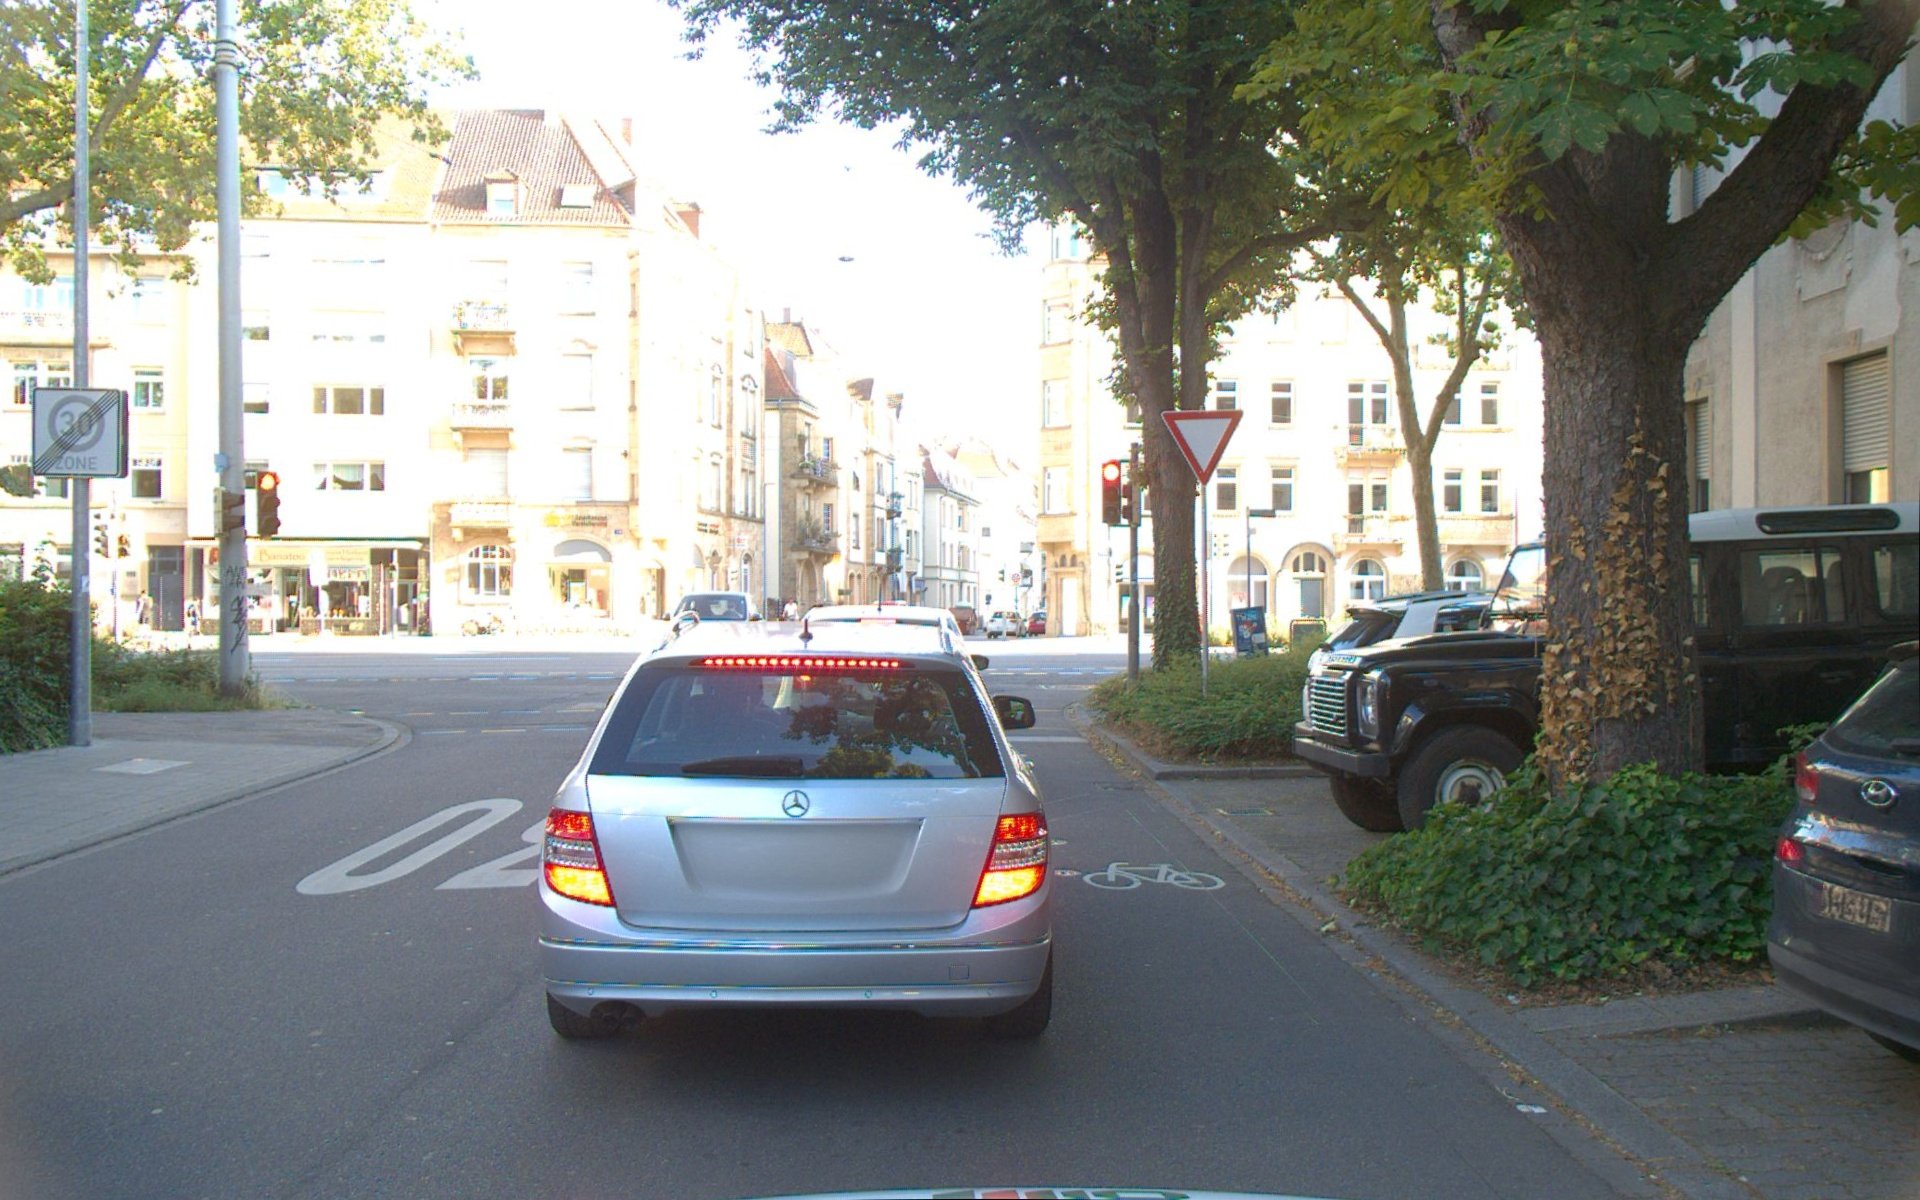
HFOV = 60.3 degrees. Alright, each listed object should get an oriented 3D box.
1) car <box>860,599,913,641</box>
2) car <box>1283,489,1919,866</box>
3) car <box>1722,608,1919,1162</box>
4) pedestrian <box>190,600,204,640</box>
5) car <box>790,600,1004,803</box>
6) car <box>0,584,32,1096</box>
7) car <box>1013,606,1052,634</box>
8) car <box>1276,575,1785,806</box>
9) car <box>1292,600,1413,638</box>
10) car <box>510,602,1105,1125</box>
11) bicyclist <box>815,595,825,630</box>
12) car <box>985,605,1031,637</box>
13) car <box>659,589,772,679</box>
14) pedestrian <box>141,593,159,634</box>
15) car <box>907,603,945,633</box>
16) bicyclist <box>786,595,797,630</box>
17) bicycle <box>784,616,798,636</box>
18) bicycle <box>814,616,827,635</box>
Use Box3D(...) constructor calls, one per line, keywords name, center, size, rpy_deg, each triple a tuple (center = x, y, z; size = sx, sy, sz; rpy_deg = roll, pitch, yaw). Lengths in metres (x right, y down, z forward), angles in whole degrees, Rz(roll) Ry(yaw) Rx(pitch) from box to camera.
Box3D(name="car", center=(-3.539, 0.950, 80.273), size=(1.896, 1.993, 4.153), rpy_deg=(0, 0, 7))
Box3D(name="car", center=(4.419, 0.400, 10.233), size=(4.402, 1.990, 1.791), rpy_deg=(-2, 0, -4))
Box3D(name="car", center=(4.331, 0.696, 4.579), size=(3.675, 1.446, 1.627), rpy_deg=(-2, -1, -4))
Box3D(name="pedestrian", center=(-29.489, 0.776, 63.934), size=(0.467, 1.537, 0.427), rpy_deg=(0, 0, -25))
Box3D(name="car", center=(-0.517, 0.720, 13.526), size=(1.502, 1.415, 3.597), rpy_deg=(0, 0, -2))
Box3D(name="car", center=(-3.519, 0.736, 2.769), size=(1.746, 1.487, 4.295), rpy_deg=(-2, 1, -5))
Box3D(name="car", center=(4.489, 1.197, 102.115), size=(1.684, 1.503, 4.004), rpy_deg=(-4, 0, 11))
Box3D(name="car", center=(4.440, 0.656, 13.150), size=(3.415, 1.614, 1.708), rpy_deg=(-1, 0, -7))
Box3D(name="car", center=(11.789, 0.564, 49.740), size=(3.296, 1.087, 1.380), rpy_deg=(0, 0, -2))
Box3D(name="car", center=(-0.521, 0.758, 6.438), size=(1.657, 1.454, 3.490), rpy_deg=(1, 0, -3))
Box3D(name="bicyclist", center=(-6.192, 0.557, 73.228), size=(0.457, 1.547, 0.693), rpy_deg=(0, 0, -4))
Box3D(name="car", center=(2.516, 1.066, 85.887), size=(1.684, 1.504, 4.004), rpy_deg=(-2, 0, 11))
Box3D(name="car", center=(-4.487, 0.585, 30.773), size=(1.582, 1.527, 3.592), rpy_deg=(0, 1, -1))
Box3D(name="pedestrian", center=(-30.593, 0.517, 62.476), size=(0.557, 1.537, 0.499), rpy_deg=(0, 0, -20))
Box3D(name="car", center=(-2.111, 1.109, 102.375), size=(1.615, 1.814, 3.866), rpy_deg=(0, -1, 10))
Box3D(name="bicyclist", center=(-7.457, 0.560, 73.225), size=(0.457, 1.541, 0.655), rpy_deg=(0, 0, -4))
Box3D(name="bicycle", center=(-7.471, 1.133, 73.083), size=(0.557, 0.849, 1.564), rpy_deg=(0, 0, -4))
Box3D(name="bicycle", center=(-6.167, 1.125, 73.155), size=(0.557, 0.849, 1.564), rpy_deg=(0, 0, -4))
